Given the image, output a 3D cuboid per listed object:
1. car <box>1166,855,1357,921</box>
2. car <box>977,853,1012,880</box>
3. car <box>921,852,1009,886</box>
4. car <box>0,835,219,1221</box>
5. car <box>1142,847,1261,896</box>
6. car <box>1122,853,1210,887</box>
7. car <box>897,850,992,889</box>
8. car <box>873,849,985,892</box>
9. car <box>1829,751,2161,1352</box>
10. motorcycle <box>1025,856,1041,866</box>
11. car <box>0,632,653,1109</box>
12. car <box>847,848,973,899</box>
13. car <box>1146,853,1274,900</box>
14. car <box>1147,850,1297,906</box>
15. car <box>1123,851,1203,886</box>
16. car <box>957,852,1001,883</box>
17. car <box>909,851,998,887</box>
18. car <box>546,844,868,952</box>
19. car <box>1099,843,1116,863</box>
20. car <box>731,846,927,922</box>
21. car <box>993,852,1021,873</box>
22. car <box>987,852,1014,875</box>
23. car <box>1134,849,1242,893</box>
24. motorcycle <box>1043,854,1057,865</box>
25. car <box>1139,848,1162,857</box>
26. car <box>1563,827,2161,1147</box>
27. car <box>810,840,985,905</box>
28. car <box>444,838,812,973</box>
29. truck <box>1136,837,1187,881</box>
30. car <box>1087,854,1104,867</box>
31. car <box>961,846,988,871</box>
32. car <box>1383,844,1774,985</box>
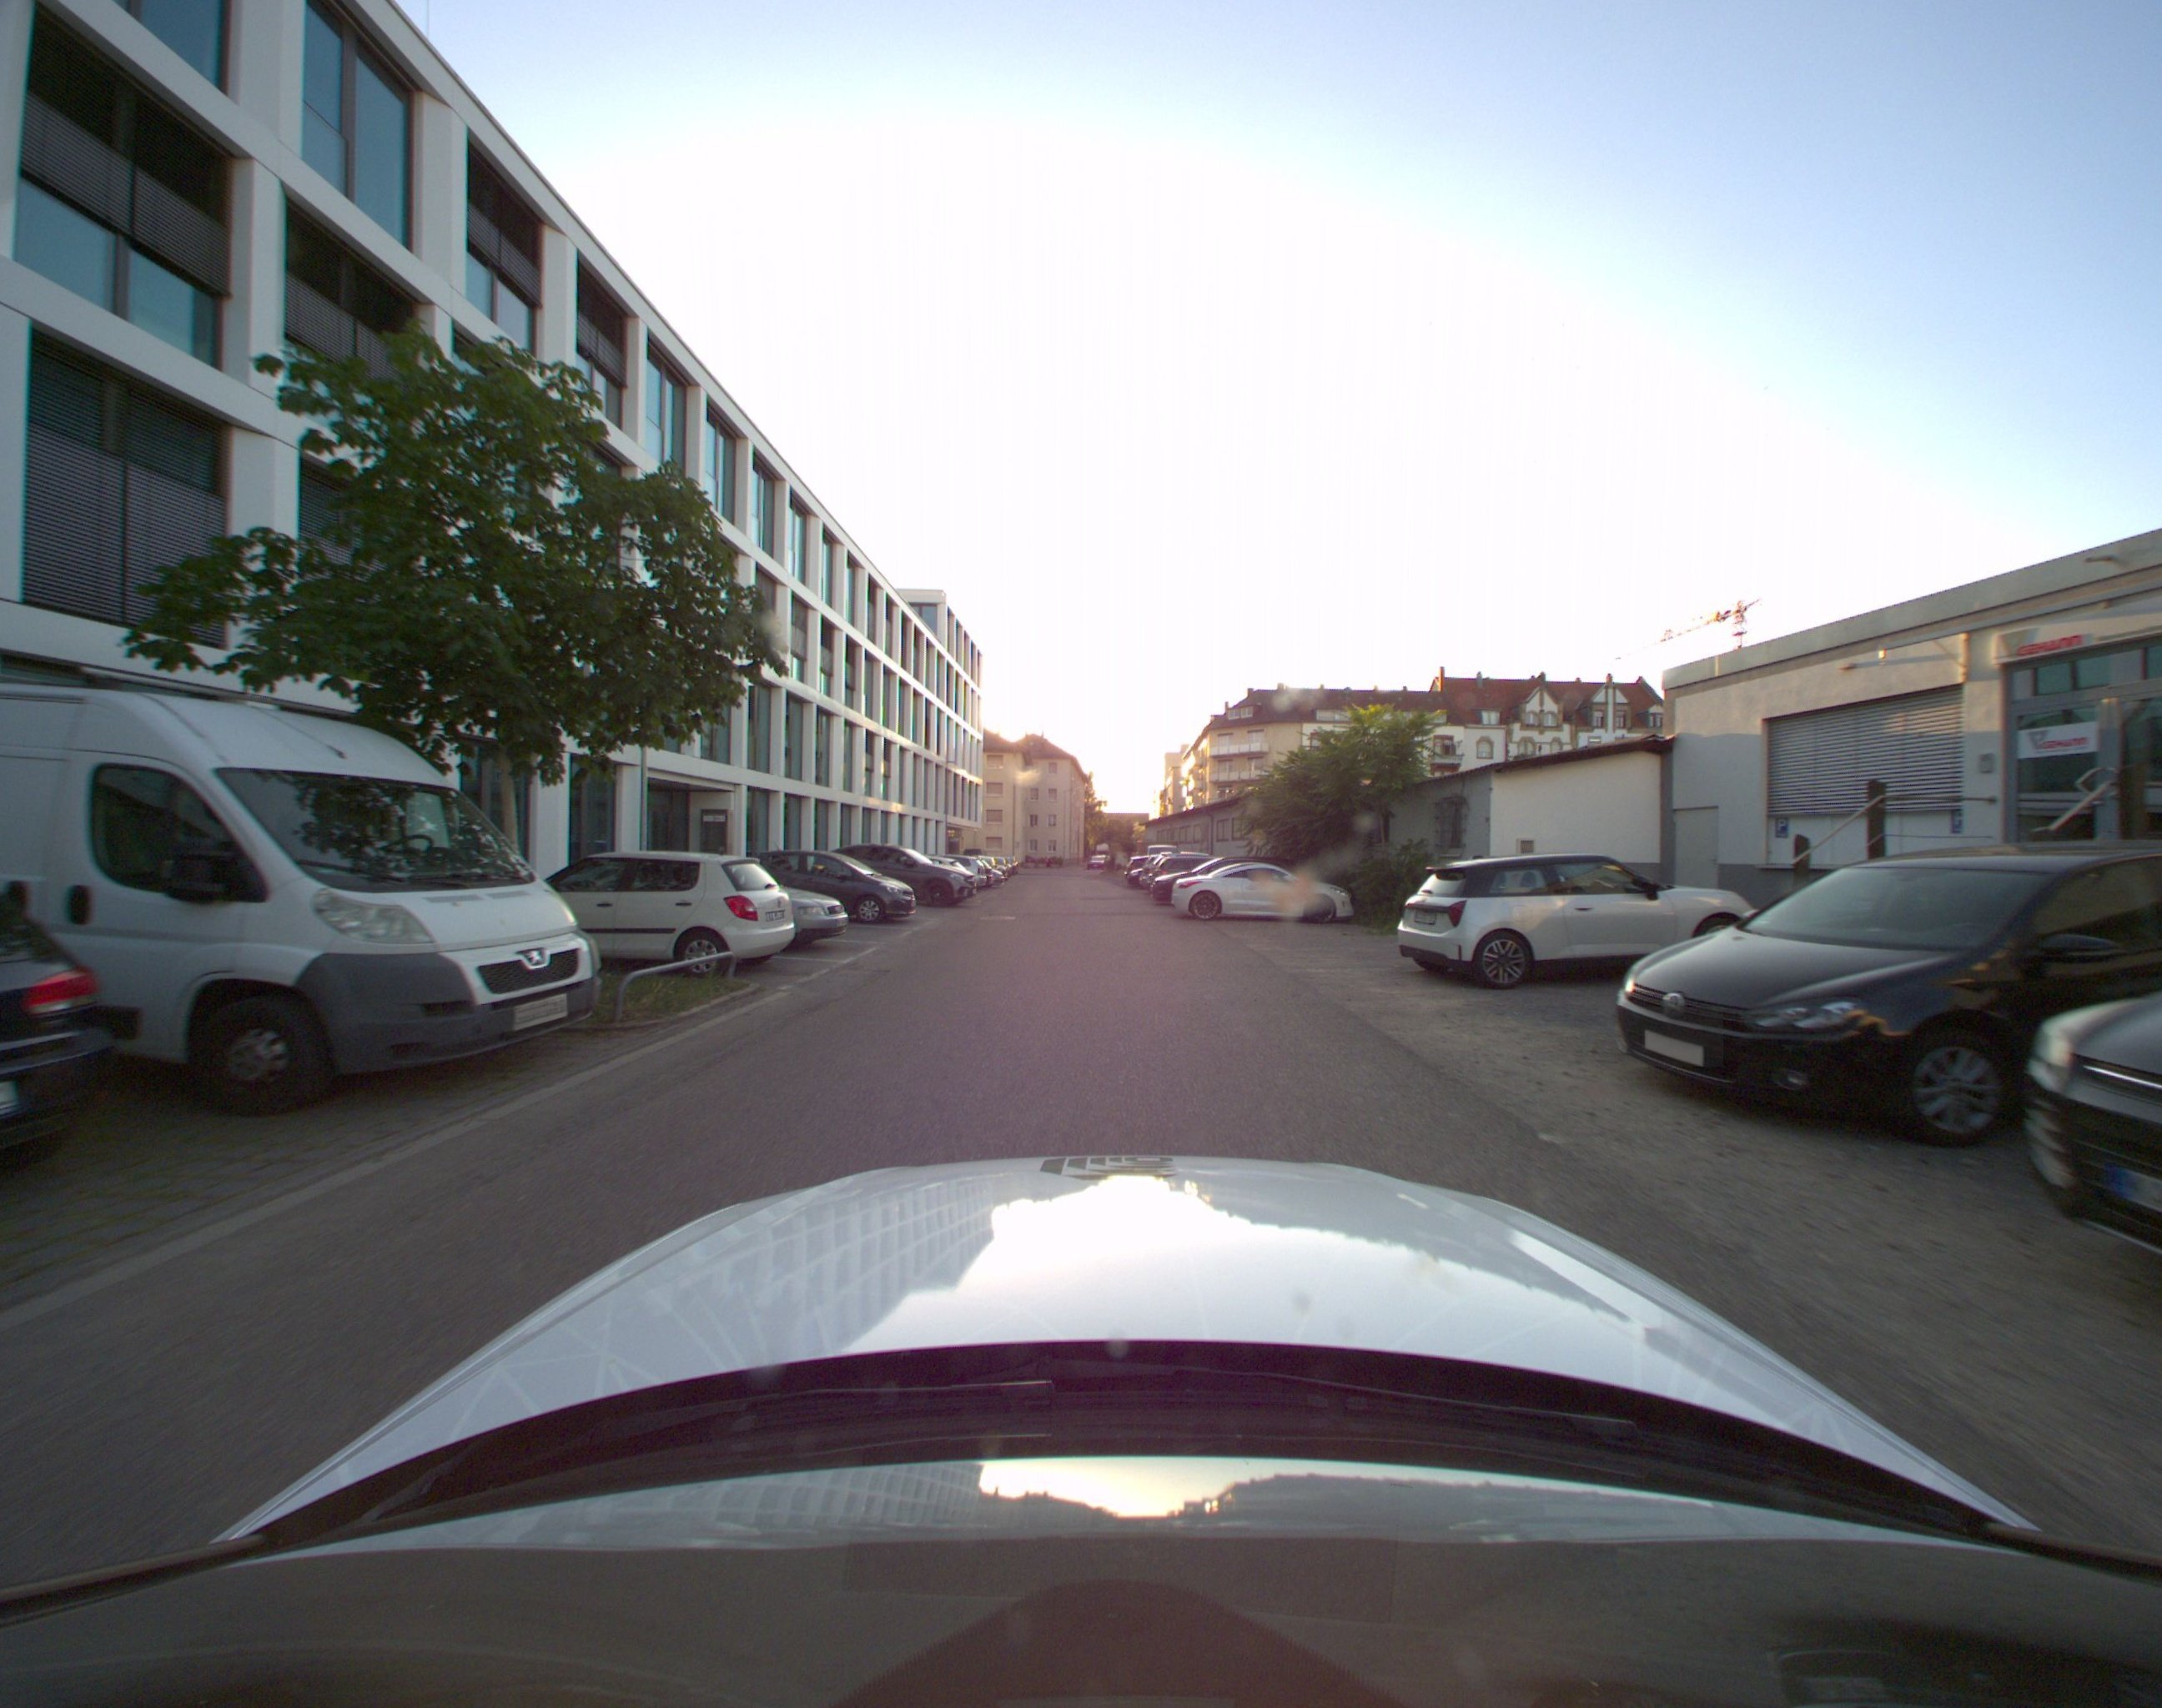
[{"bbox_3d":[4.192,0.770,19.418,4.185,1.367,1.825,1,0,3],"label":"car"},{"bbox_3d":[-5.141,0.729,49.034,1.643,1.438,4.182,4,0,-1],"label":"car"},{"bbox_3d":[-5.520,0.708,39.120,3.911,1.511,1.688,1,0,2],"label":"car"},{"bbox_3d":[-6.261,0.641,2.995,4.099,1.499,1.773,1,0,-3],"label":"car"},{"bbox_3d":[4.336,0.624,29.644,3.976,1.619,1.824,1,0,-4],"label":"car"},{"bbox_3d":[3.845,0.719,37.253,3.749,1.444,1.844,1,-1,-2],"label":"car"},{"bbox_3d":[-5.689,0.629,34.300,3.641,1.511,1.688,1,0,1],"label":"car"},{"bbox_3d":[-5.901,0.623,31.845,3.949,1.511,1.797,1,0,2],"label":"car"},{"bbox_3d":[5.236,0.544,2.371,4.223,1.741,1.969,-1,0,3],"label":"car"},{"bbox_3d":[-5.081,0.716,86.273,0.717,1.079,2.092,0,0,23],"label":"motorcycle"},{"bbox_3d":[-6.252,0.038,5.696,5.360,2.632,2.079,1,0,2],"label":"car"},{"bbox_3d":[-5.565,0.615,26.781,3.649,1.511,1.698,1,0,4],"label":"car"},{"bbox_3d":[4.210,0.736,27.046,3.971,1.445,1.826,1,-1,-1],"label":"car"},{"bbox_3d":[4.164,0.707,24.520,4.188,1.503,1.890,1,-1,1],"label":"car"},{"bbox_3d":[3.939,0.675,39.597,3.746,1.535,1.892,1,1,0],"label":"car"},{"bbox_3d":[-5.352,0.696,43.176,1.642,1.438,4.202,4,0,1],"label":"car"},{"bbox_3d":[-5.683,0.655,36.555,3.641,1.511,1.688,1,0,1],"label":"car"},{"bbox_3d":[-5.839,0.644,13.080,4.291,1.495,1.796,1,0,2],"label":"car"},{"bbox_3d":[4.438,-0.184,136.164,2.609,3.269,7.703,-1,0,3],"label":"car"},{"bbox_3d":[-5.477,0.627,18.045,3.770,1.522,1.693,1,0,-1],"label":"car"},{"bbox_3d":[-5.816,0.676,64.221,1.774,1.479,4.330,4,0,0],"label":"car"},{"bbox_3d":[-5.746,0.637,58.546,1.706,1.479,4.180,4,0,-3],"label":"car"},{"bbox_3d":[4.201,0.653,32.328,3.973,1.609,1.937,1,0,-2],"label":"car"},{"bbox_3d":[-3.369,0.612,88.768,0.682,1.160,2.046,0,0,27],"label":"motorcycle"},{"bbox_3d":[12.481,-0.330,146.072,3.971,1.530,1.660,-1,0,2],"label":"car"},{"bbox_3d":[5.492,0.637,5.188,4.002,1.563,1.707,-1,0,-9],"label":"car"},{"bbox_3d":[-5.339,0.514,24.131,4.597,1.706,2.007,1,0,4],"label":"car"},{"bbox_3d":[-5.612,0.594,10.419,3.695,1.495,1.708,1,0,1],"label":"car"},{"bbox_3d":[4.237,0.252,43.842,2.091,2.200,5.709,0,0,-1],"label":"truck"},{"bbox_3d":[1.617,0.712,90.746,1.838,1.473,4.079,0,0,1],"label":"car"},{"bbox_3d":[-9.029,0.361,69.306,1.792,1.979,4.688,0,1,-1],"label":"car"},{"bbox_3d":[5.788,0.651,9.781,3.695,1.479,1.711,-1,0,-3],"label":"car"}]
